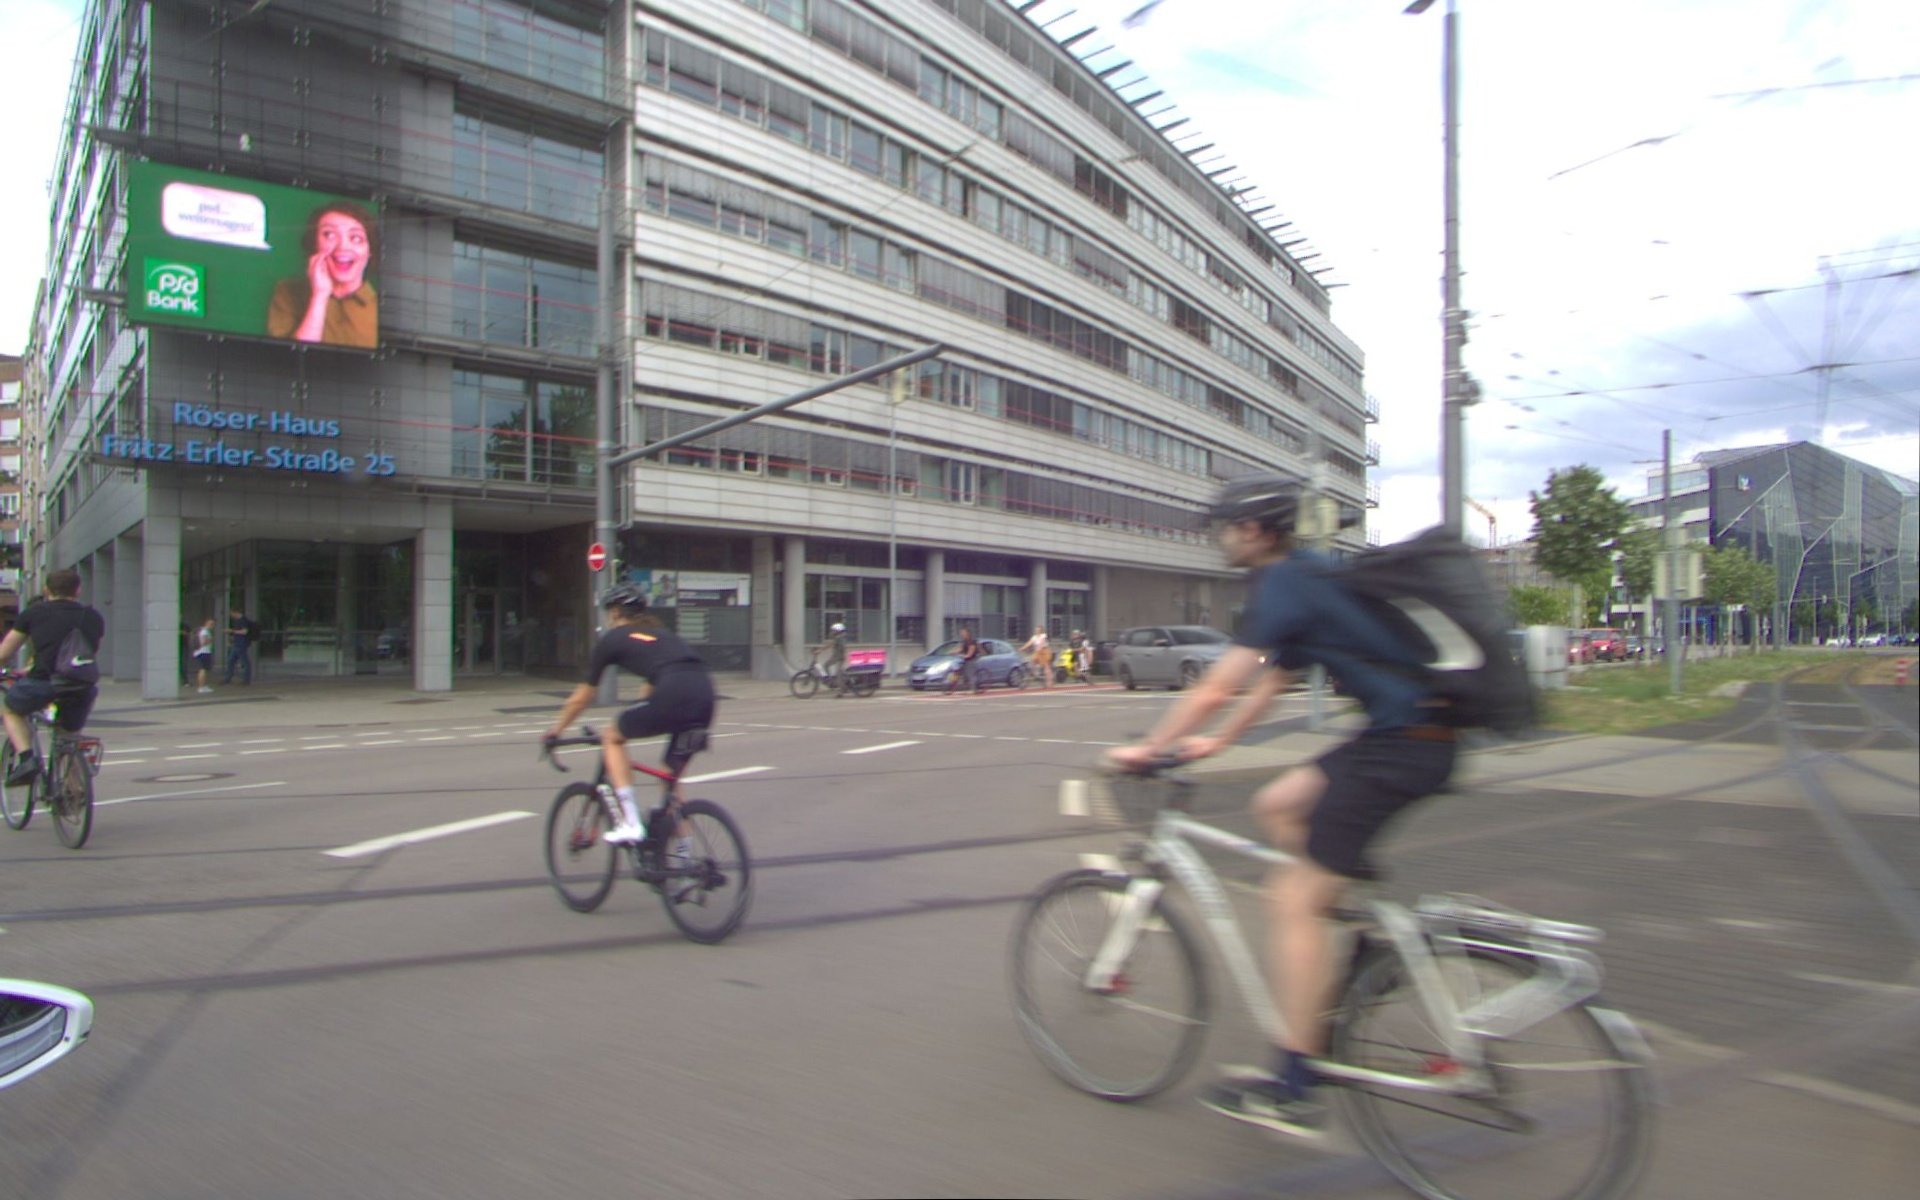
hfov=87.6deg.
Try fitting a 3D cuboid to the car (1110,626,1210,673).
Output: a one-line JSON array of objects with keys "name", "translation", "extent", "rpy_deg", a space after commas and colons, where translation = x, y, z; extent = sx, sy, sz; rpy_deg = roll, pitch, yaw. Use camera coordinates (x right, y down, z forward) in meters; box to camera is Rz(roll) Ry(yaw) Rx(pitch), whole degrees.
[{"name": "car", "translation": [7.428, 1.779, 36.958], "extent": [1.803, 1.641, 4.134], "rpy_deg": [-2, -2, 41]}]

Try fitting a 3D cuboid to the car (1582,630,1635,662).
[{"name": "car", "translation": [35.599, 2.497, 54.950], "extent": [1.803, 1.687, 4.375], "rpy_deg": [-3, -3, 41]}]

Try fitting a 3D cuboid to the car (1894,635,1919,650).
[{"name": "car", "translation": [116.458, 5.184, 122.604], "extent": [4.106, 1.772, 1.990], "rpy_deg": [1, -1, -31]}]

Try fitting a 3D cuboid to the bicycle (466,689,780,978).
[{"name": "bicycle", "translation": [-1.740, 1.075, 5.060], "extent": [1.710, 1.153, 0.593], "rpy_deg": [-1, -1, 34]}]

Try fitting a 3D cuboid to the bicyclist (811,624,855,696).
[{"name": "bicyclist", "translation": [-3.103, 1.461, 24.462], "extent": [1.015, 1.695, 0.661], "rpy_deg": [-1, -2, -9]}]

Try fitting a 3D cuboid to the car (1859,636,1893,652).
[{"name": "car", "translation": [107.311, 5.134, 117.294], "extent": [4.110, 1.772, 1.987], "rpy_deg": [1, -2, -34]}]

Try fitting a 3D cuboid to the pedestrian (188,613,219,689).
[{"name": "pedestrian", "translation": [-17.540, 1.173, 23.226], "extent": [0.549, 1.749, 0.492], "rpy_deg": [1, 0, -35]}]

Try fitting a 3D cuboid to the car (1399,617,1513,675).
[{"name": "car", "translation": [13.528, 1.245, 27.217], "extent": [1.803, 1.451, 3.968], "rpy_deg": [-3, -3, 41]}]

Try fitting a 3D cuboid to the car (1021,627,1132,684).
[{"name": "car", "translation": [3.977, 1.821, 33.776], "extent": [1.803, 1.784, 3.968], "rpy_deg": [-2, -2, 41]}]

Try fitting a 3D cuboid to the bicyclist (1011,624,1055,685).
[{"name": "bicyclist", "translation": [2.035, 1.519, 27.956], "extent": [0.737, 1.687, 0.972], "rpy_deg": [-3, -3, 43]}]

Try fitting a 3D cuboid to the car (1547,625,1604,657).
[{"name": "car", "translation": [31.243, 2.077, 50.789], "extent": [1.803, 1.552, 3.968], "rpy_deg": [-3, -3, 41]}]

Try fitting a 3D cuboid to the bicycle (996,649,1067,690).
[{"name": "bicycle", "translation": [2.002, 1.924, 27.882], "extent": [0.742, 1.069, 2.202], "rpy_deg": [-4, -4, 43]}]

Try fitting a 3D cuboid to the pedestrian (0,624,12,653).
[{"name": "pedestrian", "translation": [-51.845, 2.069, 54.404], "extent": [0.508, 1.576, 0.468], "rpy_deg": [0, 0, -44]}]

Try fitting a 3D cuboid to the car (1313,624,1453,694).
[{"name": "car", "translation": [9.783, 1.315, 23.015], "extent": [1.803, 1.451, 3.968], "rpy_deg": [-3, -3, 41]}]

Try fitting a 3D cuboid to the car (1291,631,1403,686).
[{"name": "car", "translation": [11.417, 1.689, 29.416], "extent": [1.803, 1.479, 3.968], "rpy_deg": [-3, -3, 41]}]

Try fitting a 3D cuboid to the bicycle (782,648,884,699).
[{"name": "bicycle", "translation": [-3.102, 1.789, 24.454], "extent": [2.393, 1.153, 0.661], "rpy_deg": [-1, -2, -9]}]

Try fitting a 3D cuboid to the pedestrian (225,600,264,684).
[{"name": "pedestrian", "translation": [-17.786, 1.029, 24.897], "extent": [0.666, 2.041, 0.599], "rpy_deg": [3, 2, 40]}]

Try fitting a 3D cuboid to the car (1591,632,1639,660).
[{"name": "car", "translation": [38.641, 2.701, 59.030], "extent": [1.803, 1.552, 3.968], "rpy_deg": [-3, -3, 41]}]

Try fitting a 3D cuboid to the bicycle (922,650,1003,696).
[{"name": "bicycle", "translation": [0.083, 1.798, 24.896], "extent": [0.676, 1.069, 2.187], "rpy_deg": [-4, -4, 43]}]

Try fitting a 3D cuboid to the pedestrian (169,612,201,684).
[{"name": "pedestrian", "translation": [-19.187, 1.172, 24.784], "extent": [0.637, 1.749, 0.542], "rpy_deg": [1, 0, 44]}]

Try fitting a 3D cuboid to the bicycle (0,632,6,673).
[{"name": "bicycle", "translation": [-30.553, 1.600, 30.118], "extent": [0.646, 1.274, 2.627], "rpy_deg": [0, -1, 33]}]

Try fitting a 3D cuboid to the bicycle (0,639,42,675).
[{"name": "bicycle", "translation": [-27.819, 1.656, 29.169], "extent": [0.416, 1.000, 1.556], "rpy_deg": [0, 0, 29]}]

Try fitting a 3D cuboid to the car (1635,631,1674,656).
[{"name": "car", "translation": [46.371, 2.896, 66.832], "extent": [1.690, 1.552, 3.968], "rpy_deg": [-3, -3, 41]}]

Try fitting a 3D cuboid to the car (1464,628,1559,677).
[{"name": "car", "translation": [17.384, 1.619, 31.479], "extent": [1.803, 1.451, 3.968], "rpy_deg": [-3, -3, 41]}]

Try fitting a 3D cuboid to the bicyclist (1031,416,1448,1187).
[{"name": "bicyclist", "translation": [0.790, 0.478, 2.860], "extent": [1.020, 1.794, 0.588], "rpy_deg": [0, 0, 34]}]

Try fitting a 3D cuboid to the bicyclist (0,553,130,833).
[{"name": "bicyclist", "translation": [-6.300, 0.606, 6.939], "extent": [1.020, 1.791, 0.588], "rpy_deg": [0, 0, 34]}]

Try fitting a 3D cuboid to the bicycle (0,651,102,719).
[{"name": "bicycle", "translation": [-16.754, 1.520, 18.091], "extent": [1.883, 1.153, 0.720], "rpy_deg": [1, -1, -39]}]

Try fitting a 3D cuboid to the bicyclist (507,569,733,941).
[{"name": "bicyclist", "translation": [-1.714, 0.708, 5.038], "extent": [1.020, 1.675, 0.588], "rpy_deg": [0, 0, 34]}]

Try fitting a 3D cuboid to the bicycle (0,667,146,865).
[{"name": "bicycle", "translation": [-6.484, 1.090, 7.057], "extent": [2.062, 1.153, 0.593], "rpy_deg": [-1, -1, 34]}]

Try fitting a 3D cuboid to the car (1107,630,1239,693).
[{"name": "car", "translation": [5.803, 1.589, 26.999], "extent": [1.803, 1.552, 3.968], "rpy_deg": [-2, -2, 41]}]

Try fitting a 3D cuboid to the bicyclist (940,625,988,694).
[{"name": "bicyclist", "translation": [0.097, 1.471, 24.929], "extent": [0.668, 1.687, 0.972], "rpy_deg": [-3, -3, 43]}]

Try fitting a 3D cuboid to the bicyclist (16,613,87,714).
[{"name": "bicyclist", "translation": [-16.546, 1.130, 18.255], "extent": [0.905, 1.787, 0.714], "rpy_deg": [0, 0, -39]}]

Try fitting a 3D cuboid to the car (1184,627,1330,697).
[{"name": "car", "translation": [7.273, 1.448, 24.317], "extent": [1.803, 1.552, 4.186], "rpy_deg": [-3, -3, 41]}]

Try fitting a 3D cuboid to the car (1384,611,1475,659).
[{"name": "car", "translation": [16.219, 1.221, 34.492], "extent": [1.803, 1.552, 3.968], "rpy_deg": [-3, -3, 41]}]

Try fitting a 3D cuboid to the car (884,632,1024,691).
[{"name": "car", "translation": [-0.114, 1.696, 28.386], "extent": [1.803, 1.552, 3.968], "rpy_deg": [-3, -3, 41]}]

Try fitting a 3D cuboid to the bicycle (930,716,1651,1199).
[{"name": "bicycle", "translation": [0.829, 0.979, 2.827], "extent": [1.832, 1.153, 0.593], "rpy_deg": [-1, -1, 34]}]

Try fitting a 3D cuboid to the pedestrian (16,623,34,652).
[{"name": "pedestrian", "translation": [-51.327, 2.037, 54.951], "extent": [0.705, 1.576, 0.791], "rpy_deg": [0, 0, -44]}]
